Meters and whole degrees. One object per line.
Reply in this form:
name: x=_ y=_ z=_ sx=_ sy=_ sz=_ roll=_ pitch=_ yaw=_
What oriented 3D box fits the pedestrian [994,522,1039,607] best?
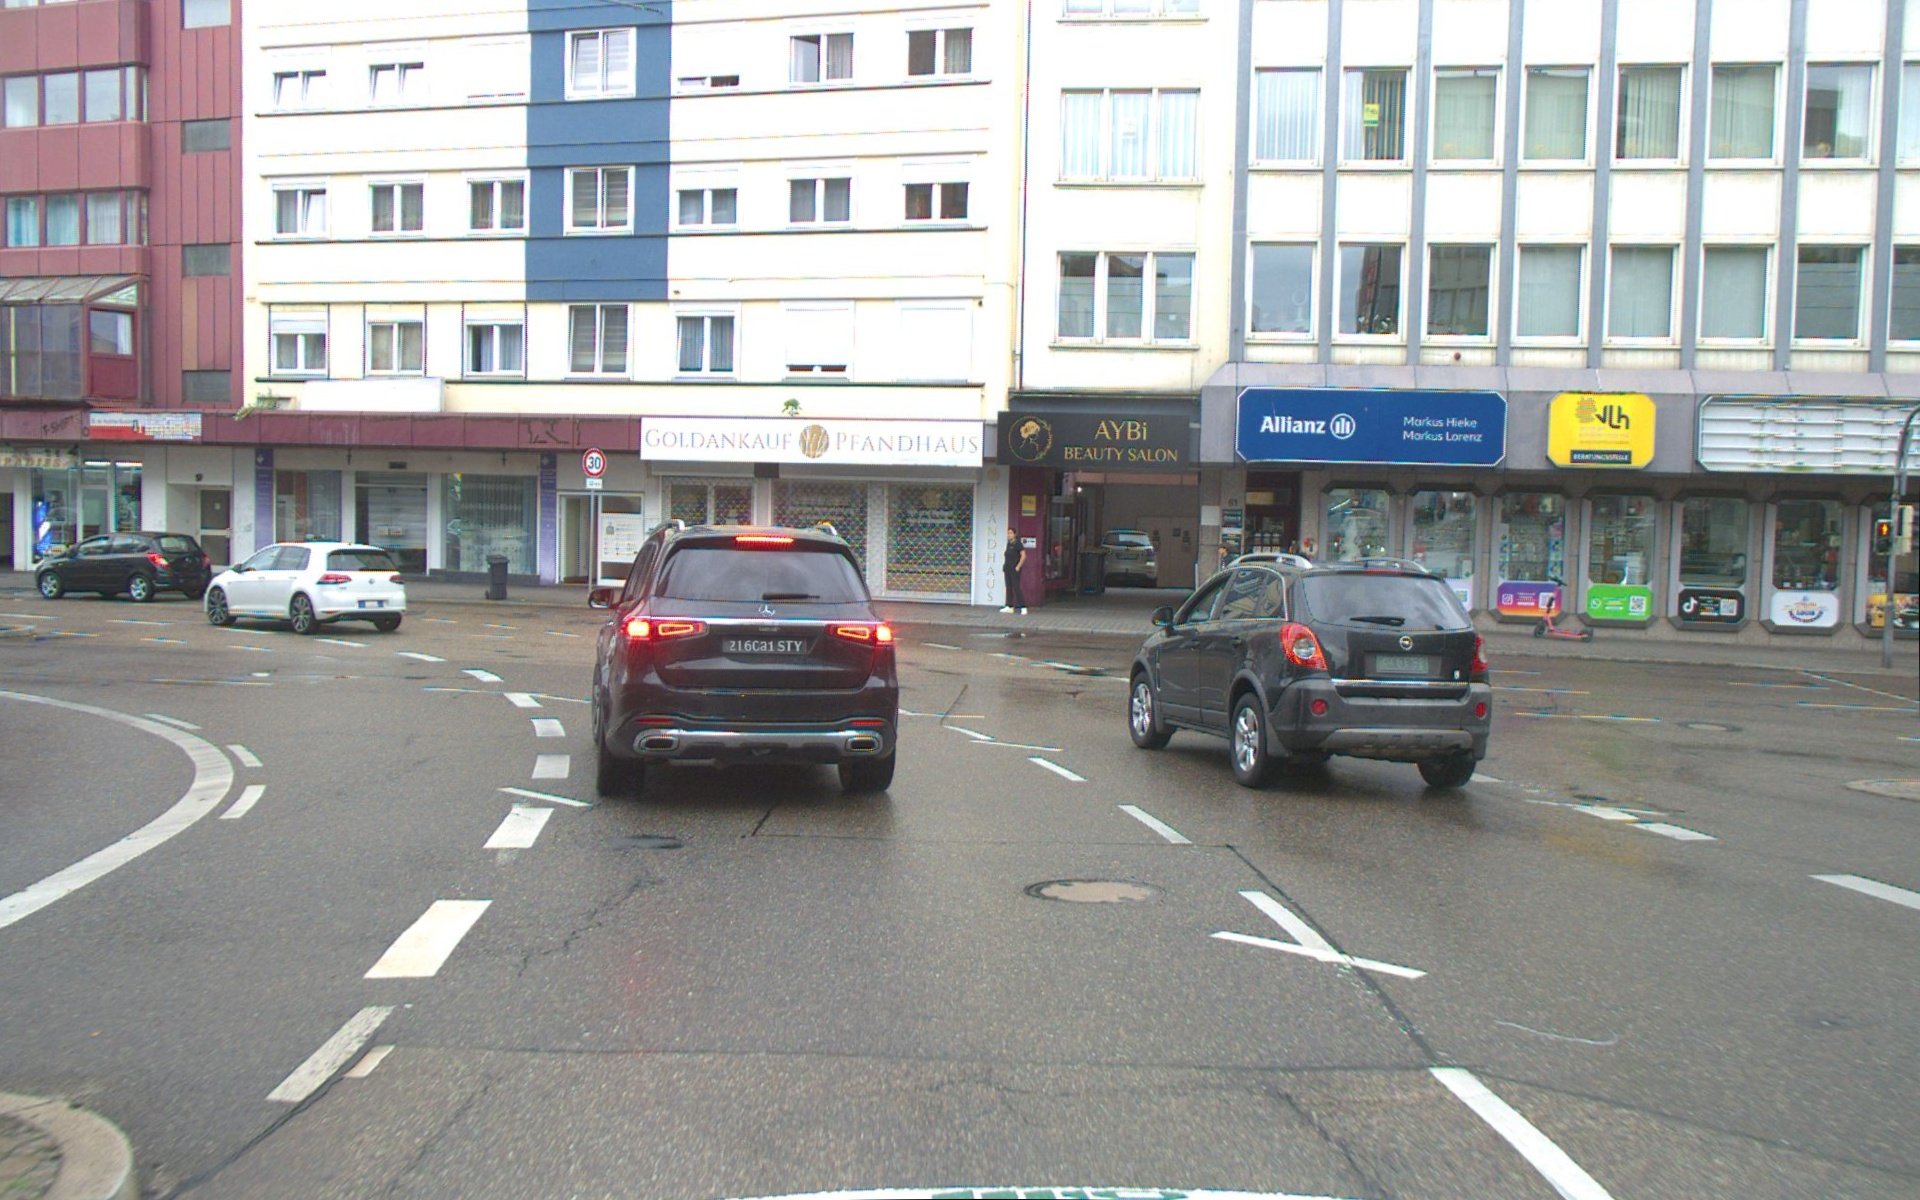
pedestrian: x=1.185 y=-0.747 z=34.797 sx=0.743 sy=1.717 sz=0.562 roll=-2 pitch=7 yaw=-24

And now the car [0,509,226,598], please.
car: x=-18.419 y=-1.001 z=35.926 sx=4.388 sy=1.687 sz=1.829 roll=3 pitch=-1 yaw=19

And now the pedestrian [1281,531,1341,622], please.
pedestrian: x=7.003 y=-0.478 z=33.076 sx=1.008 sy=1.717 sz=0.831 roll=1 pitch=6 yaw=3

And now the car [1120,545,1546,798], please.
car: x=2.852 y=0.418 z=13.816 sx=1.863 sy=1.724 sz=4.495 roll=-1 pitch=2 yaw=-11

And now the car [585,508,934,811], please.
car: x=-1.723 y=0.294 z=12.468 sx=2.005 sy=1.830 sz=4.645 roll=1 pitch=2 yaw=-15

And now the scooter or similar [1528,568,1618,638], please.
scooter or similar: x=12.109 y=0.051 z=32.709 sx=1.480 sy=1.230 sz=0.622 roll=4 pitch=6 yaw=11

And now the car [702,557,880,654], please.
car: x=-2.768 y=0.063 z=26.385 sx=1.743 sy=1.422 sz=3.972 roll=0 pitch=1 yaw=-23

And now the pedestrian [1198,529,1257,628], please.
pedestrian: x=5.230 y=-0.433 z=32.408 sx=1.008 sy=1.829 sz=0.831 roll=1 pitch=6 yaw=4

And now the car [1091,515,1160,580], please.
car: x=4.576 y=-1.424 z=46.211 sx=1.759 sy=1.699 sz=4.002 roll=1 pitch=1 yaw=3

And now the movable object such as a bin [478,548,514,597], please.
movable object such as a bin: x=-10.135 y=-0.598 z=36.137 sx=0.531 sy=0.966 sz=0.612 roll=-7 pitch=10 yaw=-34

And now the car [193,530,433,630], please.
car: x=-11.118 y=-0.368 z=28.310 sx=4.316 sy=1.521 sz=1.871 roll=3 pitch=0 yaw=38
